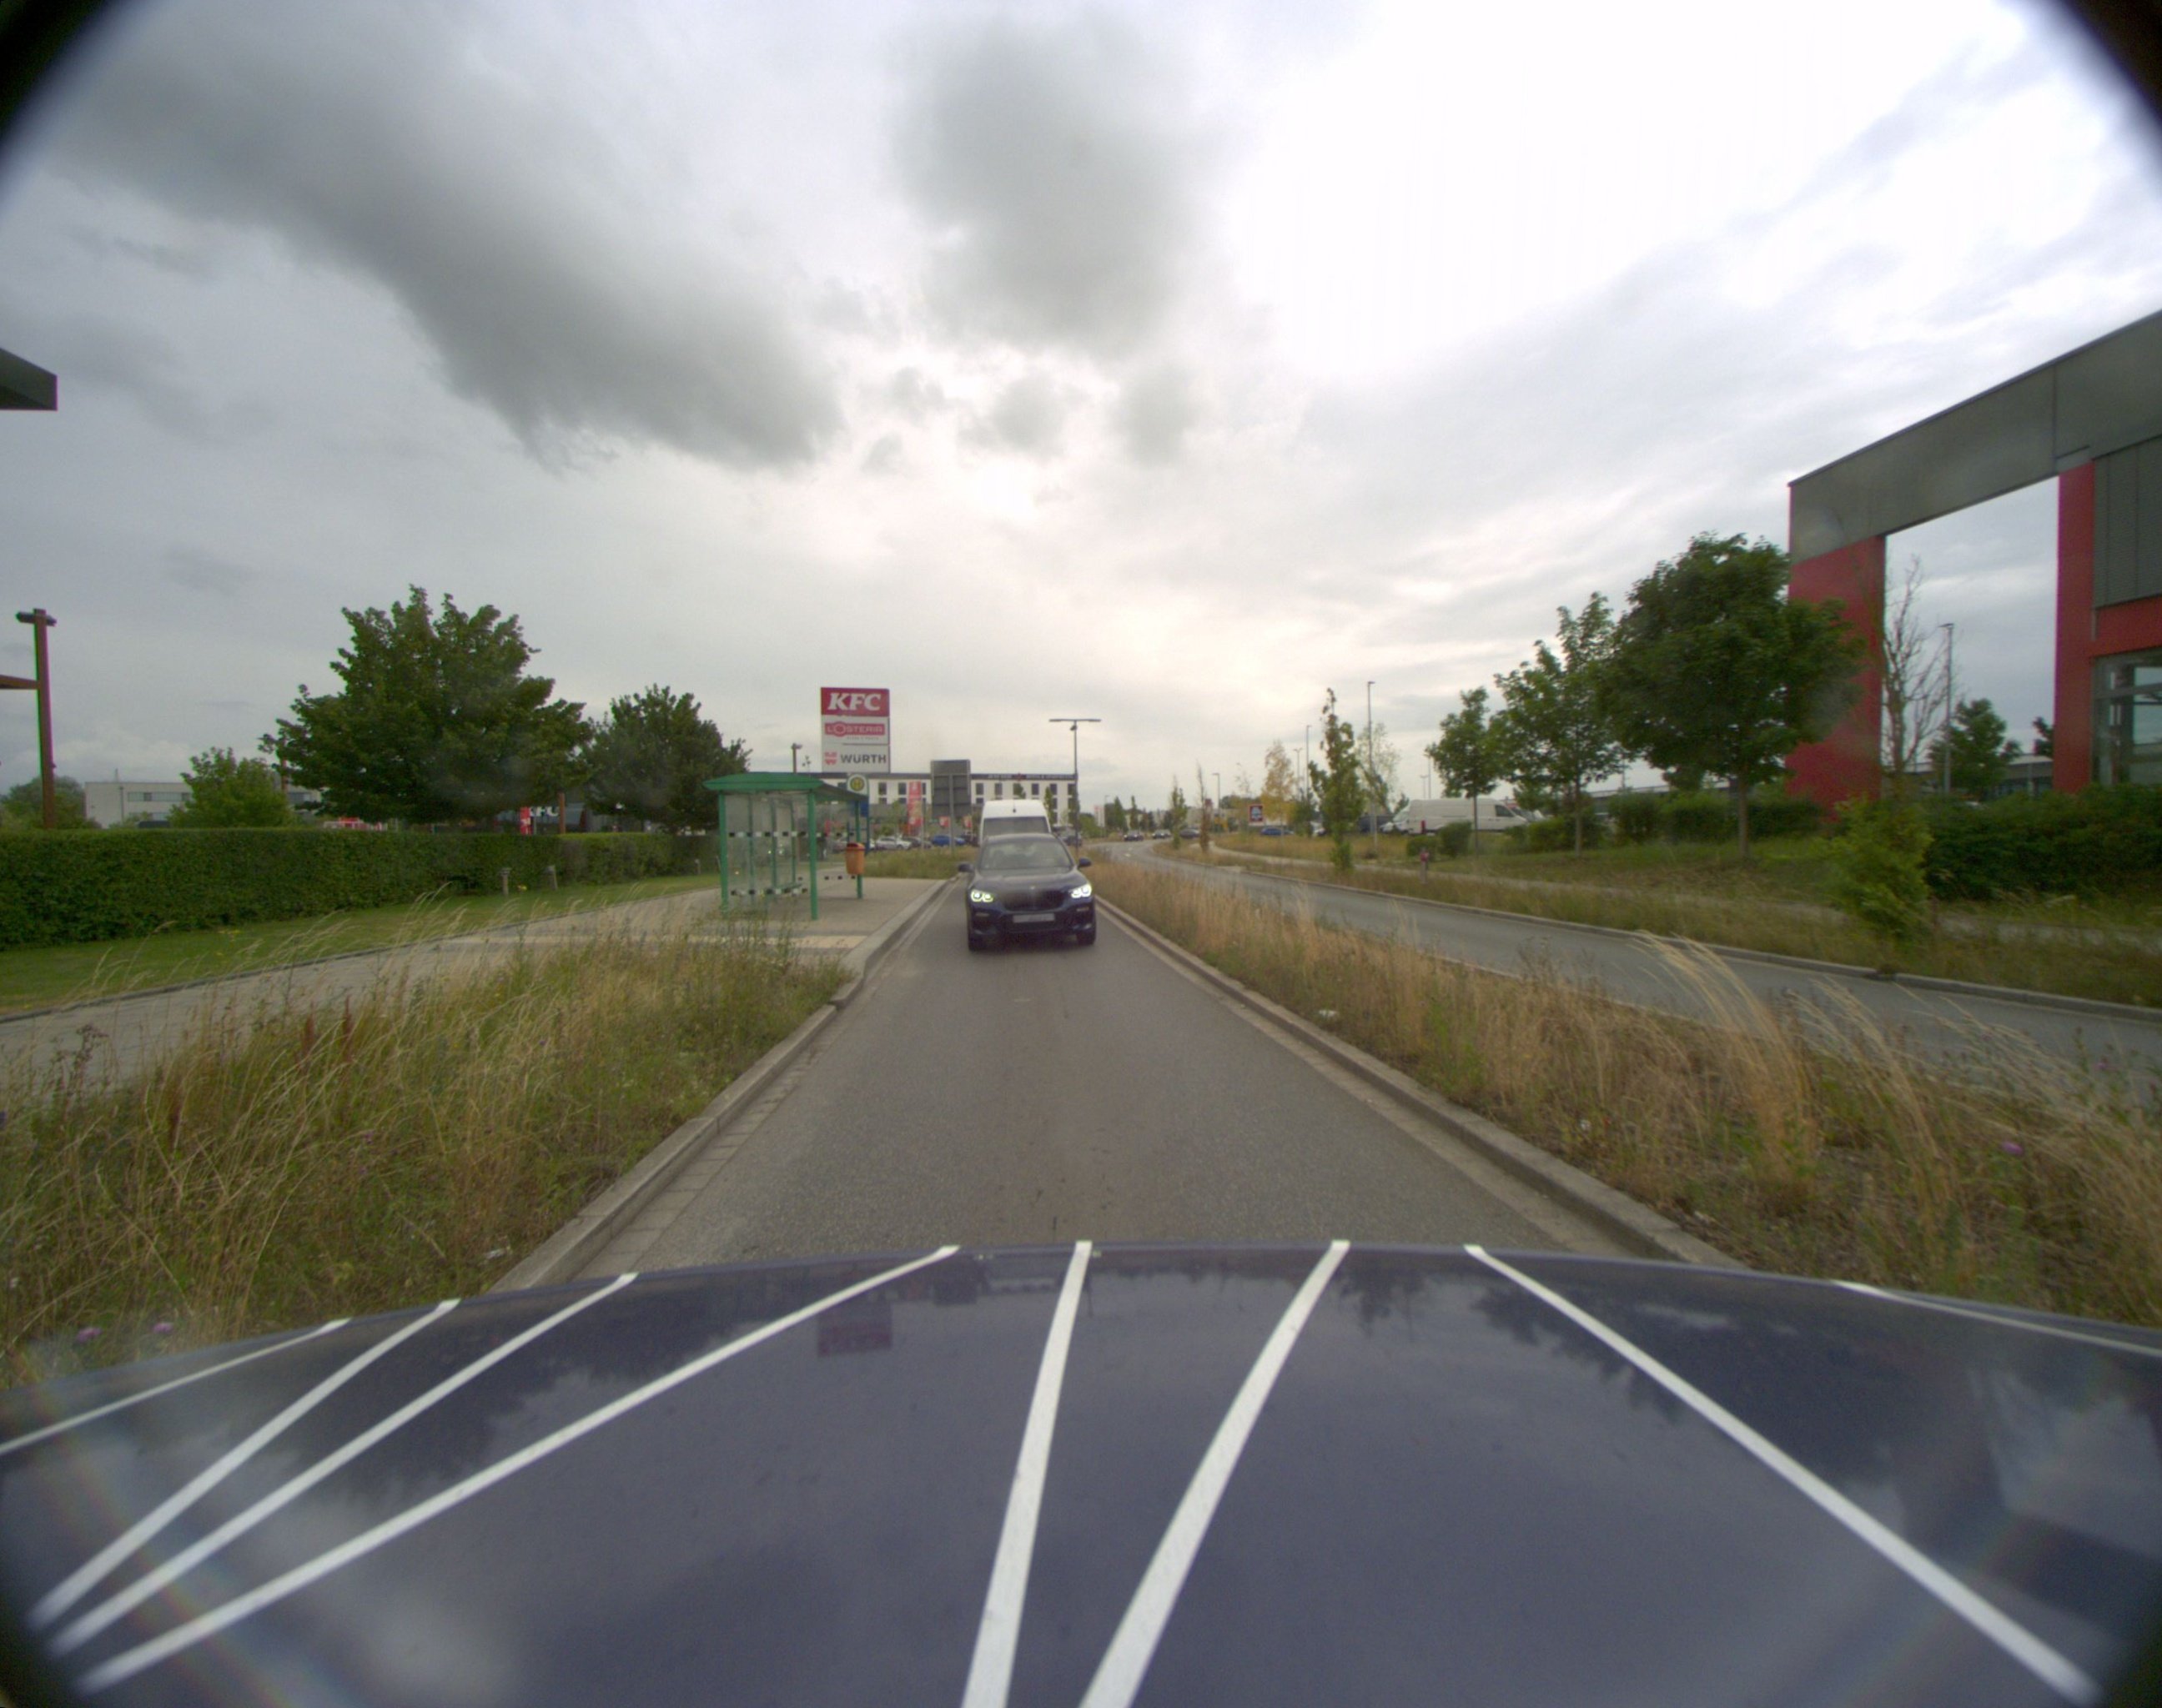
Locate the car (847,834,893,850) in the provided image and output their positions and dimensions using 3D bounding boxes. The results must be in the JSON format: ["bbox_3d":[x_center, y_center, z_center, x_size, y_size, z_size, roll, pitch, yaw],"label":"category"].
[{"bbox_3d":[-21.114,-1.237,76.086,3.996,1.478,1.847,-1,2,2],"label":"car"}]

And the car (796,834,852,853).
[{"bbox_3d":[-21.629,-0.873,64.026,3.996,1.478,1.847,-1,2,3],"label":"car"}]

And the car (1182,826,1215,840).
[{"bbox_3d":[15.094,-2.750,97.635,3.993,1.565,2.001,-2,3,14],"label":"car"}]

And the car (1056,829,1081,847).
[{"bbox_3d":[-1.191,-1.637,75.438,1.998,1.565,3.999,-2,3,5],"label":"car"}]

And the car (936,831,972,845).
[{"bbox_3d":[-15.838,-2.010,94.977,3.993,1.478,1.848,-2,3,11],"label":"car"}]

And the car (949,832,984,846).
[{"bbox_3d":[-14.668,-1.924,97.306,3.993,1.478,1.848,-2,3,11],"label":"car"}]

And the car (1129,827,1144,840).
[{"bbox_3d":[7.933,-2.945,108.148,1.998,1.565,3.999,-2,3,5],"label":"car"}]

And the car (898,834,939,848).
[{"bbox_3d":[-18.295,-1.513,85.643,3.995,1.478,1.847,-1,2,7],"label":"car"}]

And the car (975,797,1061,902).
[{"bbox_3d":[-1.862,-0.202,21.524,2.027,2.513,6.099,-1,2,-6],"label":"car"}]

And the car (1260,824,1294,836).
[{"bbox_3d":[24.458,-2.989,94.901,3.991,1.504,1.736,0,2,18],"label":"car"}]

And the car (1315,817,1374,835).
[{"bbox_3d":[25.510,-2.669,73.644,5.052,1.647,2.065,-1,2,4],"label":"car"}]

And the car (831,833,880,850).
[{"bbox_3d":[-20.983,-1.178,70.773,3.996,1.514,1.847,-1,2,3],"label":"car"}]

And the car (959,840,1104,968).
[{"bbox_3d":[-0.860,0.615,11.956,1.868,1.599,3.996,-1,2,-6],"label":"car"}]

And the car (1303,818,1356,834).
[{"bbox_3d":[26.473,-2.961,80.976,5.052,1.647,2.065,-1,2,4],"label":"car"}]

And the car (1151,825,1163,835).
[{"bbox_3d":[12.959,-4.183,129.867,1.998,1.565,3.999,-2,3,5],"label":"car"}]

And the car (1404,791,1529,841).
[{"bbox_3d":[22.967,-2.253,45.376,6.416,2.610,2.063,-3,3,-2],"label":"car"}]

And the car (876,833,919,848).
[{"bbox_3d":[-19.519,-1.410,80.790,3.995,1.478,1.847,-1,2,7],"label":"car"}]

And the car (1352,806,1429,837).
[{"bbox_3d":[23.603,-2.479,58.105,5.053,2.211,2.064,-1,2,2],"label":"car"}]

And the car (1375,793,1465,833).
[{"bbox_3d":[22.405,-2.728,50.312,5.056,2.360,2.062,-3,3,-5],"label":"car"}]
